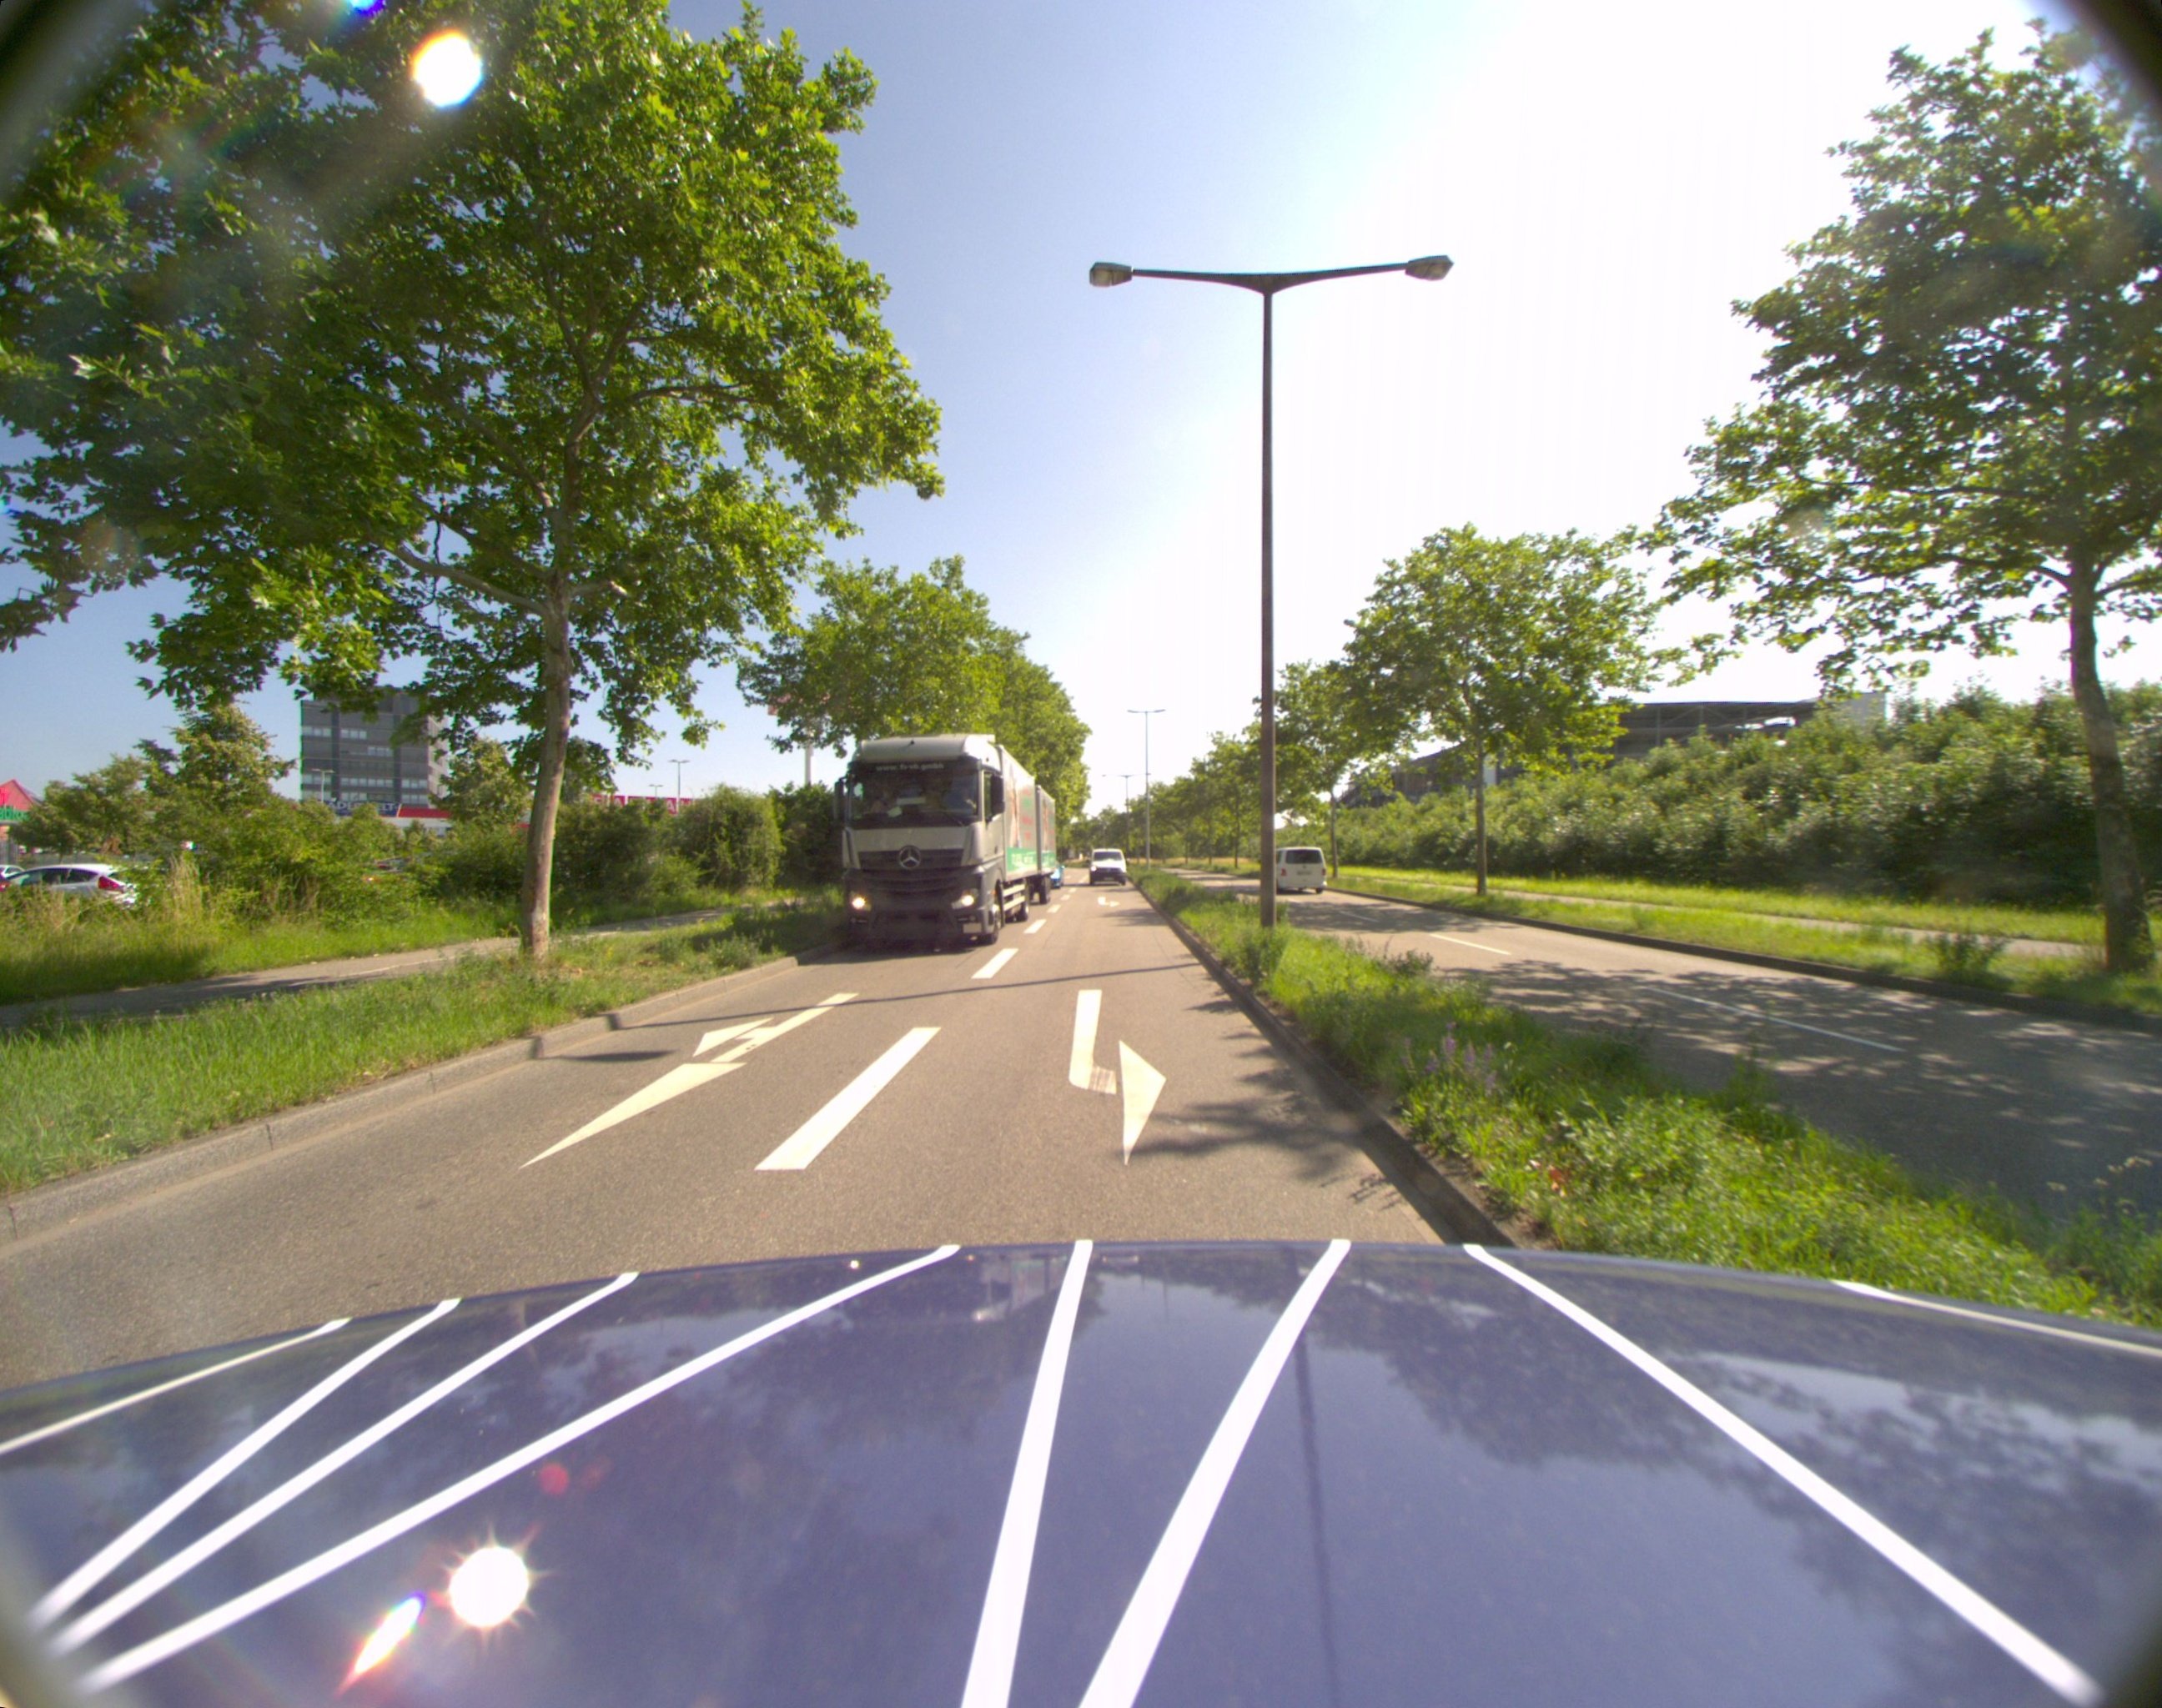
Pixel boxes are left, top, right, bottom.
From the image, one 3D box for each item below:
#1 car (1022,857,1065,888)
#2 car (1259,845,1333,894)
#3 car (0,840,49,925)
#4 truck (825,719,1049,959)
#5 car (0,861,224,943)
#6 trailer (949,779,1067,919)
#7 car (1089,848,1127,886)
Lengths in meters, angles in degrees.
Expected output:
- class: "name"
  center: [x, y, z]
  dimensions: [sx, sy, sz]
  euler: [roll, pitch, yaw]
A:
- class: "car"
  center: [-1.797, 0.884, 37.699]
  dimensions: [1.872, 1.412, 4.130]
  euler: [0, 0, 1]
- class: "car"
  center: [8.988, 0.605, 32.190]
  dimensions: [1.998, 1.887, 4.575]
  euler: [1, 0, 3]
- class: "car"
  center: [-22.158, 0.617, 13.778]
  dimensions: [4.083, 1.582, 1.880]
  euler: [-2, 1, -2]
- class: "truck"
  center: [-2.529, -0.282, 16.710]
  dimensions: [2.735, 3.867, 8.723]
  euler: [-1, 1, 3]
- class: "car"
  center: [-22.136, 1.038, 16.771]
  dimensions: [4.083, 1.582, 1.880]
  euler: [-2, 1, -2]
- class: "trailer"
  center: [-2.090, -0.187, 24.934]
  dimensions: [2.743, 3.854, 7.736]
  euler: [-1, 1, 3]
- class: "car"
  center: [1.353, 0.651, 40.265]
  dimensions: [1.872, 1.889, 4.881]
  euler: [0, 0, 1]
